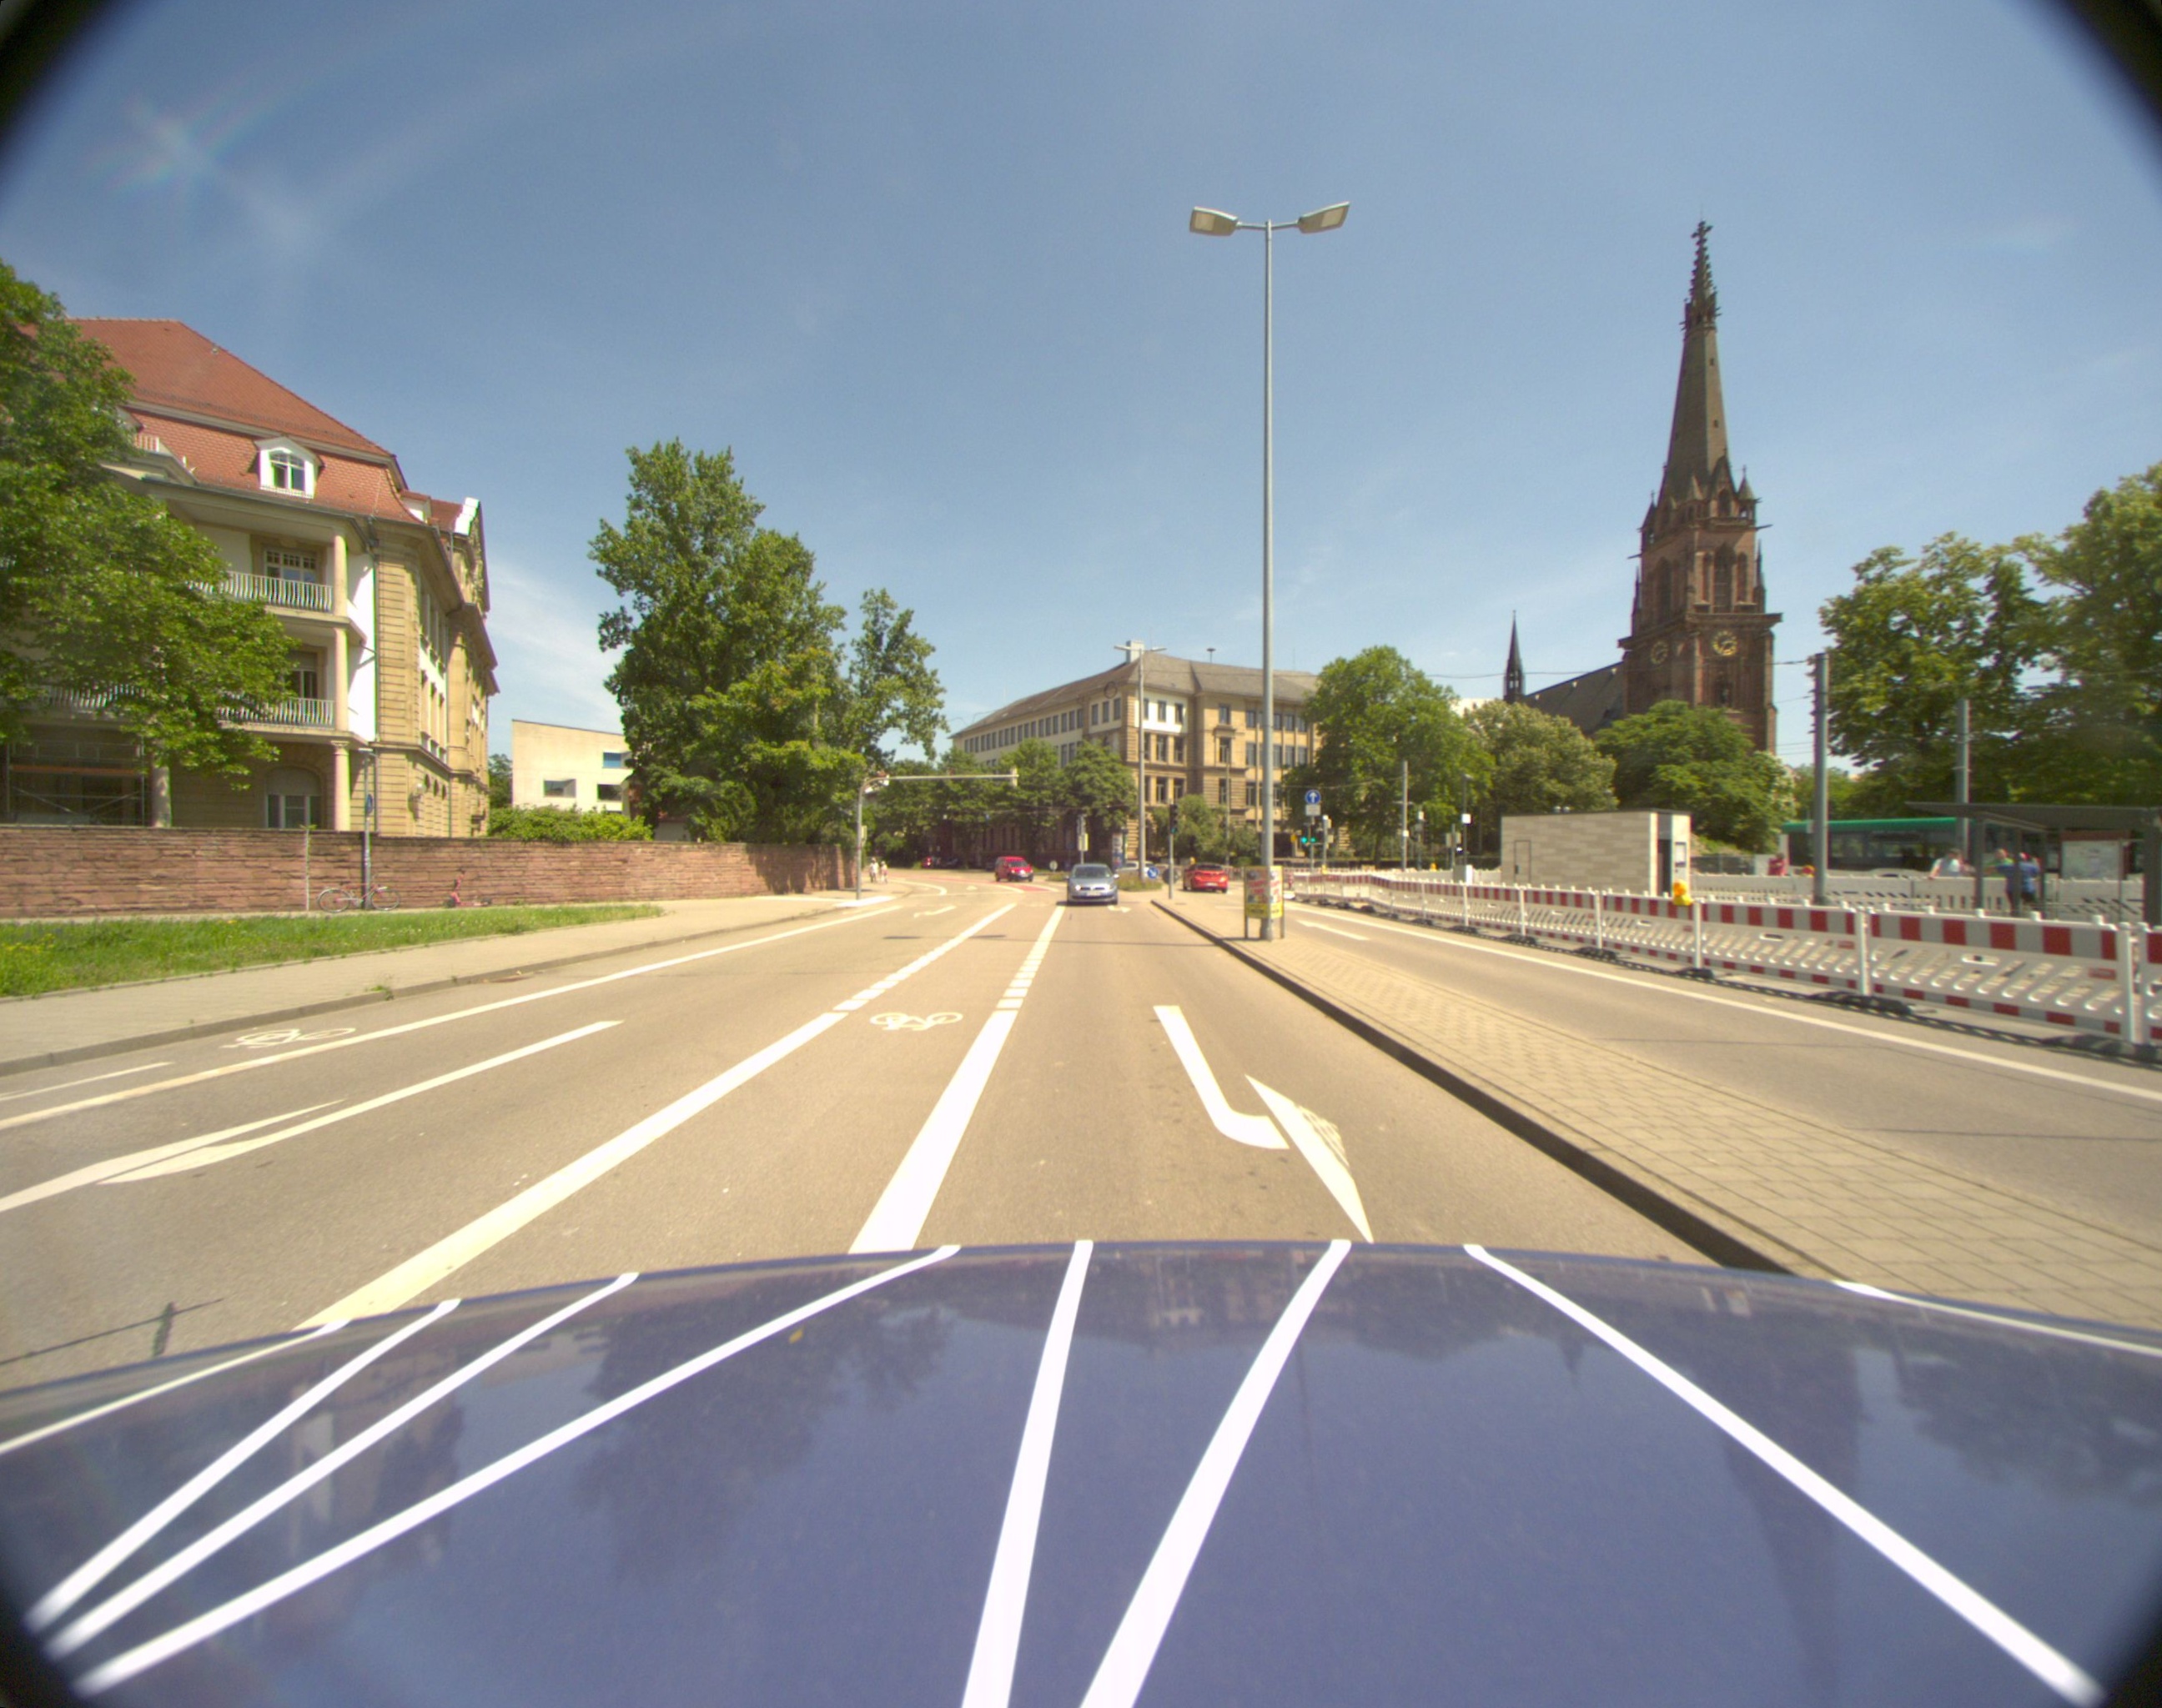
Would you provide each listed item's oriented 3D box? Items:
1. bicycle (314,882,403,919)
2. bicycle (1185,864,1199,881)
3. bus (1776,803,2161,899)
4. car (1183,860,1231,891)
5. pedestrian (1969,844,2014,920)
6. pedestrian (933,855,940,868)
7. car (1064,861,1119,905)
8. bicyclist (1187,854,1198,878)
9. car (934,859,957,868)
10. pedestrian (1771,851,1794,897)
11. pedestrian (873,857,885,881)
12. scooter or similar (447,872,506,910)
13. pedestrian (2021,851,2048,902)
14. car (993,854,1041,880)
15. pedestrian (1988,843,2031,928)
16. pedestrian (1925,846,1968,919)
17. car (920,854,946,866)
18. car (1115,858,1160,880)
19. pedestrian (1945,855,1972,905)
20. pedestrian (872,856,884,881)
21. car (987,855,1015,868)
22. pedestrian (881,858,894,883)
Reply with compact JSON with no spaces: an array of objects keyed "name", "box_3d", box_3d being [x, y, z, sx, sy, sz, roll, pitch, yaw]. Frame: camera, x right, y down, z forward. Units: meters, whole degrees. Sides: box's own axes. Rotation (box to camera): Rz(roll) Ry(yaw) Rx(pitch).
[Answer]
[{"name":"bicycle","box_3d":[-20.460,1.301,21.543,1.778,0.923,0.677,-2,1,-45]},{"name":"bicycle","box_3d":[7.998,1.309,54.613,0.589,1.143,2.009,2,0,-3]},{"name":"bus","box_3d":[33.174,-0.085,28.114,2.860,3.036,10.577,-2,1,-33]},{"name":"car","box_3d":[6.192,1.015,37.638,1.692,1.370,4.013,2,0,1]},{"name":"pedestrian","box_3d":[21.979,0.673,18.342,0.646,1.778,0.636,-3,1,-35]},{"name":"pedestrian","box_3d":[-18.462,0.933,97.232,0.725,1.661,0.642,0,1,-29]},{"name":"car","box_3d":[0.356,1.003,27.464,1.832,1.406,3.994,0,0,0]},{"name":"bicyclist","box_3d":[7.996,0.867,54.658,0.587,1.655,0.798,2,1,-3]},{"name":"car","box_3d":[-18.491,1.291,103.734,1.277,1.092,2.995,-2,1,38]},{"name":"pedestrian","box_3d":[26.096,0.740,28.270,0.564,1.691,0.582,-1,1,36]},{"name":"pedestrian","box_3d":[-13.672,1.016,51.310,0.606,1.601,0.557,2,-2,-31]},{"name":"scooter or similar","box_3d":[-18.814,1.131,23.654,0.373,1.102,1.352,-1,1,38]},{"name":"pedestrian","box_3d":[30.667,0.729,24.441,0.538,1.611,0.519,-3,1,-39]},{"name":"car","box_3d":[-4.687,0.957,55.133,1.836,1.756,4.270,-2,0,-28]},{"name":"pedestrian","box_3d":[21.286,0.705,17.417,0.694,1.894,0.575,-3,1,-36]},{"name":"pedestrian","box_3d":[21.437,0.700,18.828,0.542,1.746,0.657,-3,1,-44]},{"name":"car","box_3d":[-20.907,0.846,107.609,1.611,1.444,3.585,-2,0,27]},{"name":"car","box_3d":[3.981,1.024,54.209,1.822,1.420,4.421,2,0,-14]},{"name":"pedestrian","box_3d":[29.759,0.886,25.767,0.628,1.645,0.545,-3,1,-39]},{"name":"pedestrian","box_3d":[-14.256,1.005,53.392,0.606,1.702,0.557,2,-2,-33]},{"name":"car","box_3d":[-9.552,0.921,90.589,1.567,1.454,3.156,-1,1,38]},{"name":"pedestrian","box_3d":[-12.742,1.088,50.027,0.606,1.601,0.557,2,-2,-31]}]
